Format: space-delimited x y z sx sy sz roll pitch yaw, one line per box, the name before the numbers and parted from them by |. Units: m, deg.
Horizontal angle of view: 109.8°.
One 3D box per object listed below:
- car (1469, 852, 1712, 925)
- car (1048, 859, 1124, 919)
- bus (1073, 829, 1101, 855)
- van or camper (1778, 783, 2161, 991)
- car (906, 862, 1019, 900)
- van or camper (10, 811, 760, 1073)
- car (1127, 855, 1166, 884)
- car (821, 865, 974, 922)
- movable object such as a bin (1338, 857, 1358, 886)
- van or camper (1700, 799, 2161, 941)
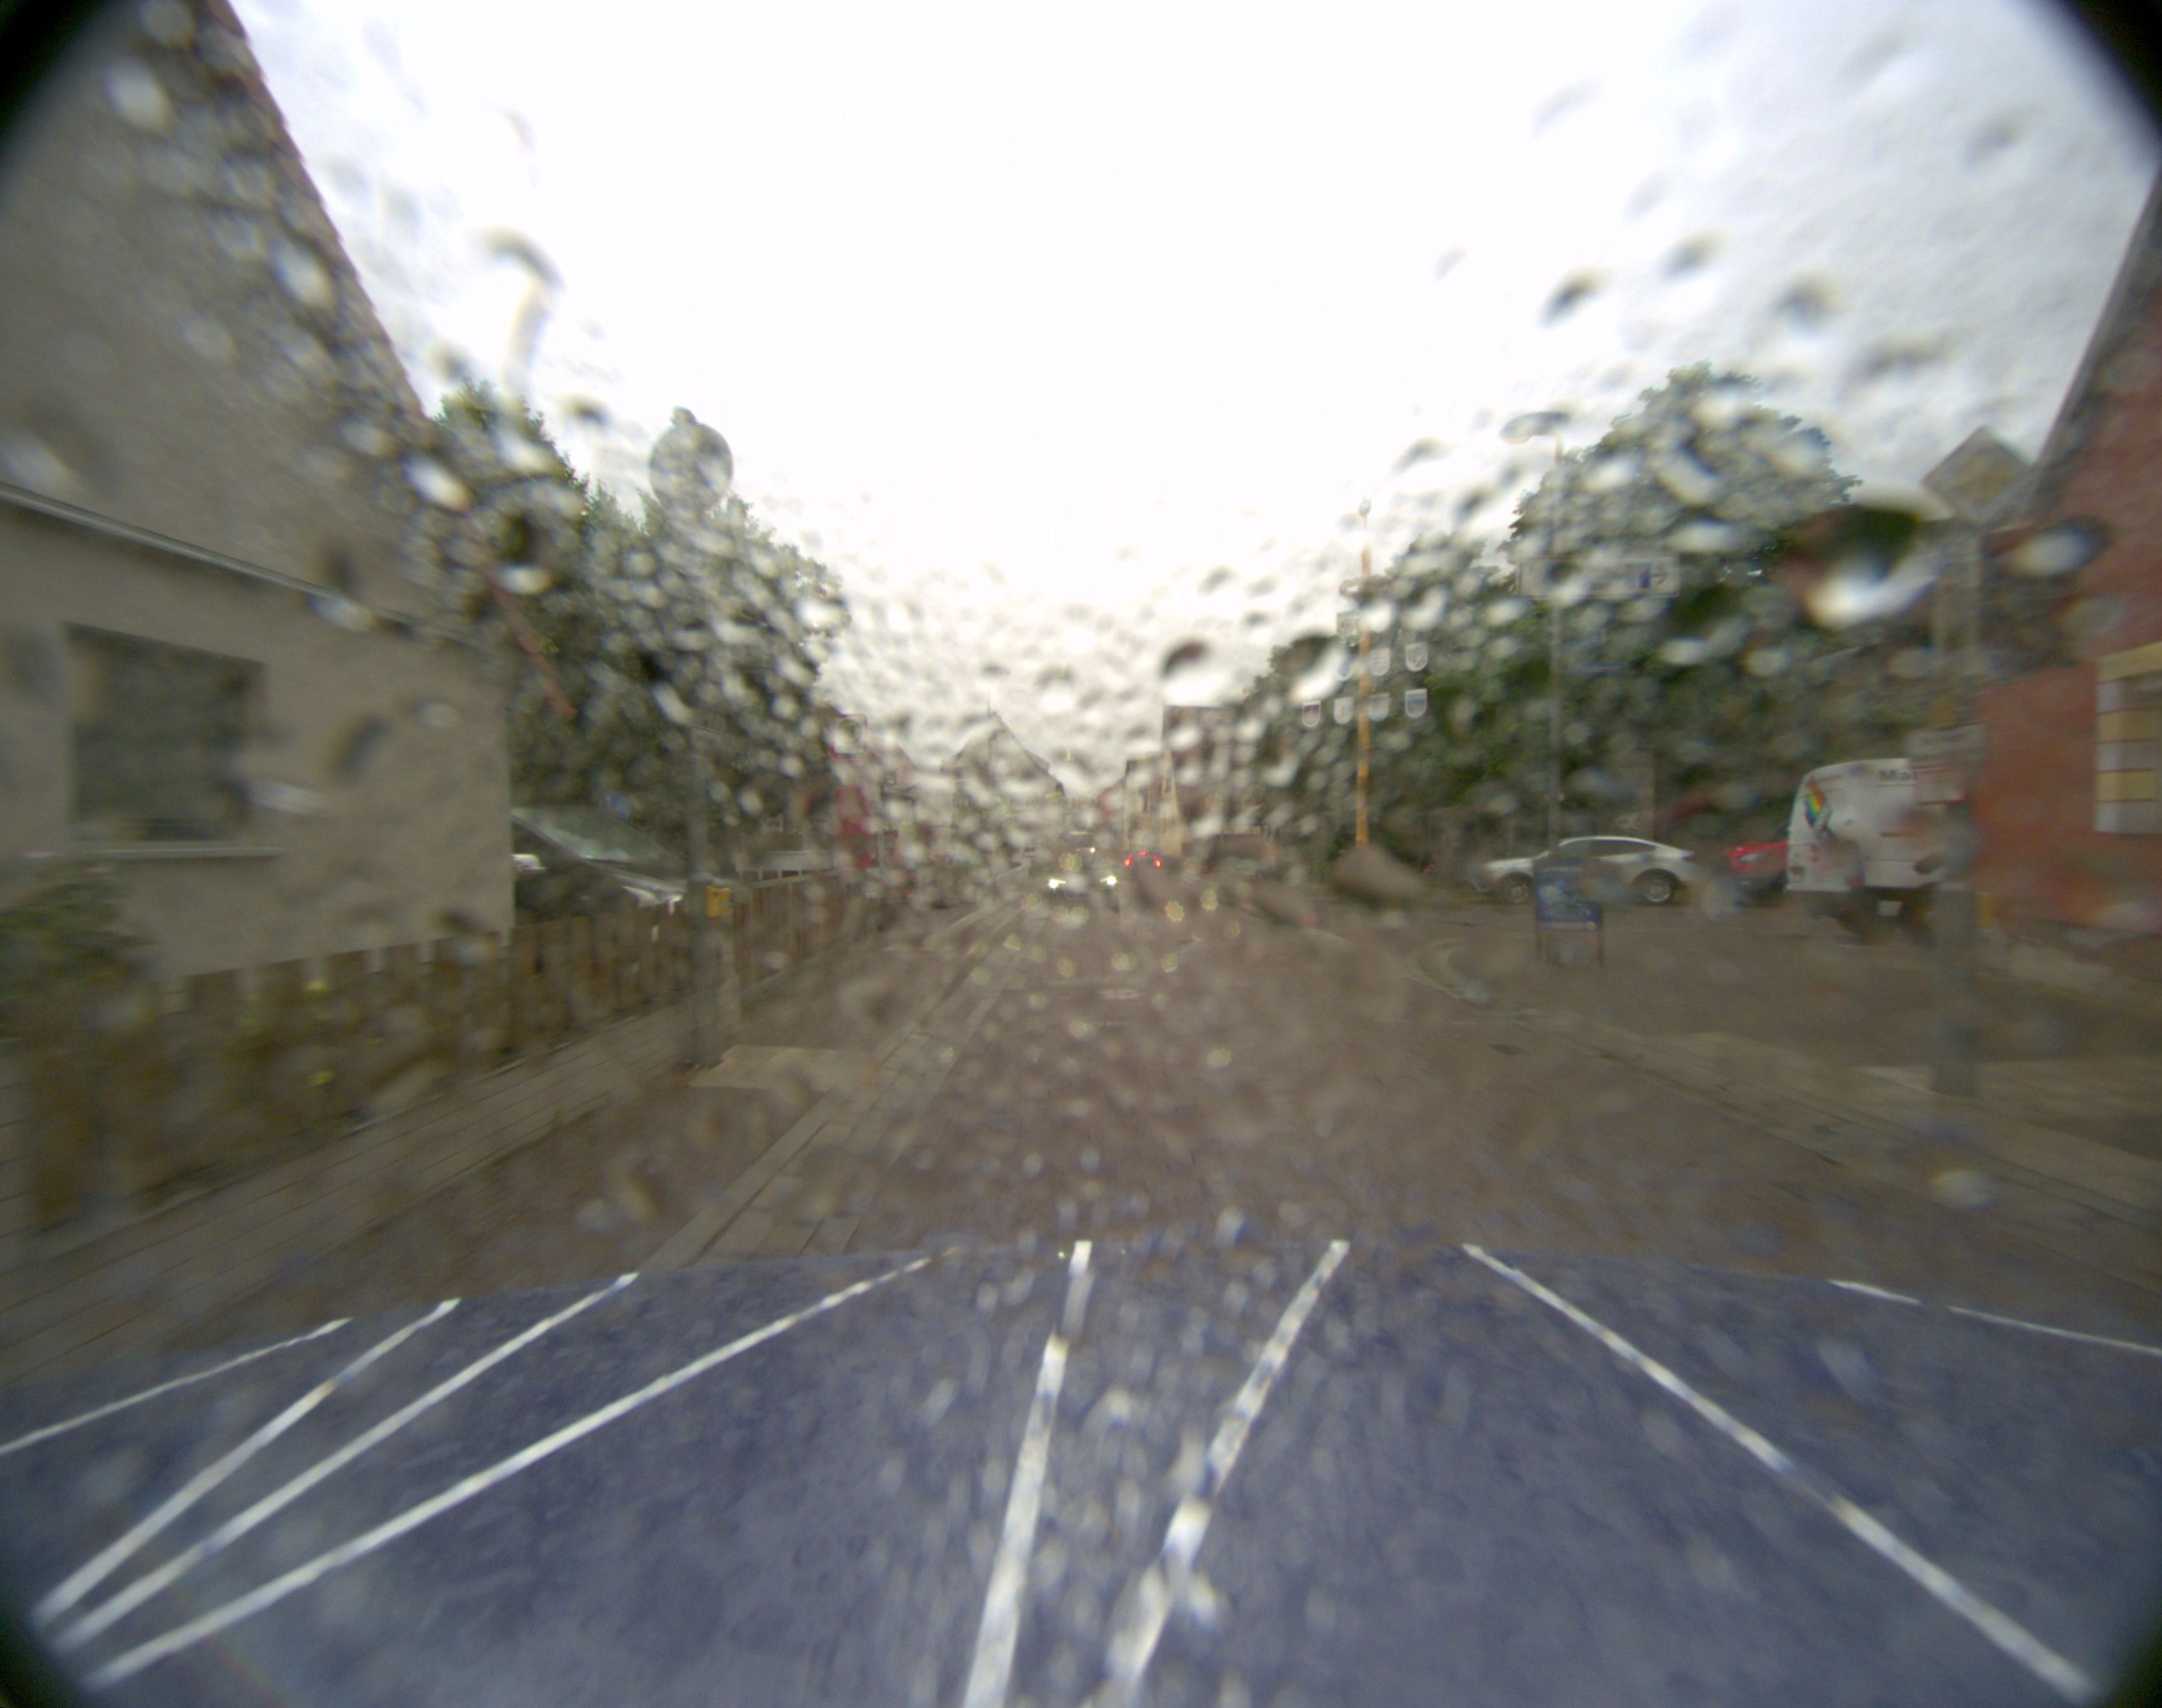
car | 11.735 0.771 17.897 4.450 1.541 1.885 -1 0 22
car | 0.194 0.866 20.115 1.800 1.342 3.738 -1 1 2
bus | 0.750 -1.821 110.484 2.894 3.590 11.970 0 2 -5
van or camper | 12.881 0.394 9.918 5.145 2.421 2.215 0 0 27
car | -4.822 1.077 31.079 4.233 1.472 1.697 0 1 16
van or camper | -5.983 0.697 7.099 5.082 1.912 1.875 -2 1 -2
car | 3.443 0.806 40.834 1.848 1.468 4.315 1 0 2
car | -5.524 1.137 23.026 4.073 1.580 1.859 0 1 15
movable object such as a bin | 10.491 0.685 29.884 0.563 1.140 0.604 0 3 -1
van or camper | 16.550 0.269 15.411 5.862 2.460 2.158 0 2 26
